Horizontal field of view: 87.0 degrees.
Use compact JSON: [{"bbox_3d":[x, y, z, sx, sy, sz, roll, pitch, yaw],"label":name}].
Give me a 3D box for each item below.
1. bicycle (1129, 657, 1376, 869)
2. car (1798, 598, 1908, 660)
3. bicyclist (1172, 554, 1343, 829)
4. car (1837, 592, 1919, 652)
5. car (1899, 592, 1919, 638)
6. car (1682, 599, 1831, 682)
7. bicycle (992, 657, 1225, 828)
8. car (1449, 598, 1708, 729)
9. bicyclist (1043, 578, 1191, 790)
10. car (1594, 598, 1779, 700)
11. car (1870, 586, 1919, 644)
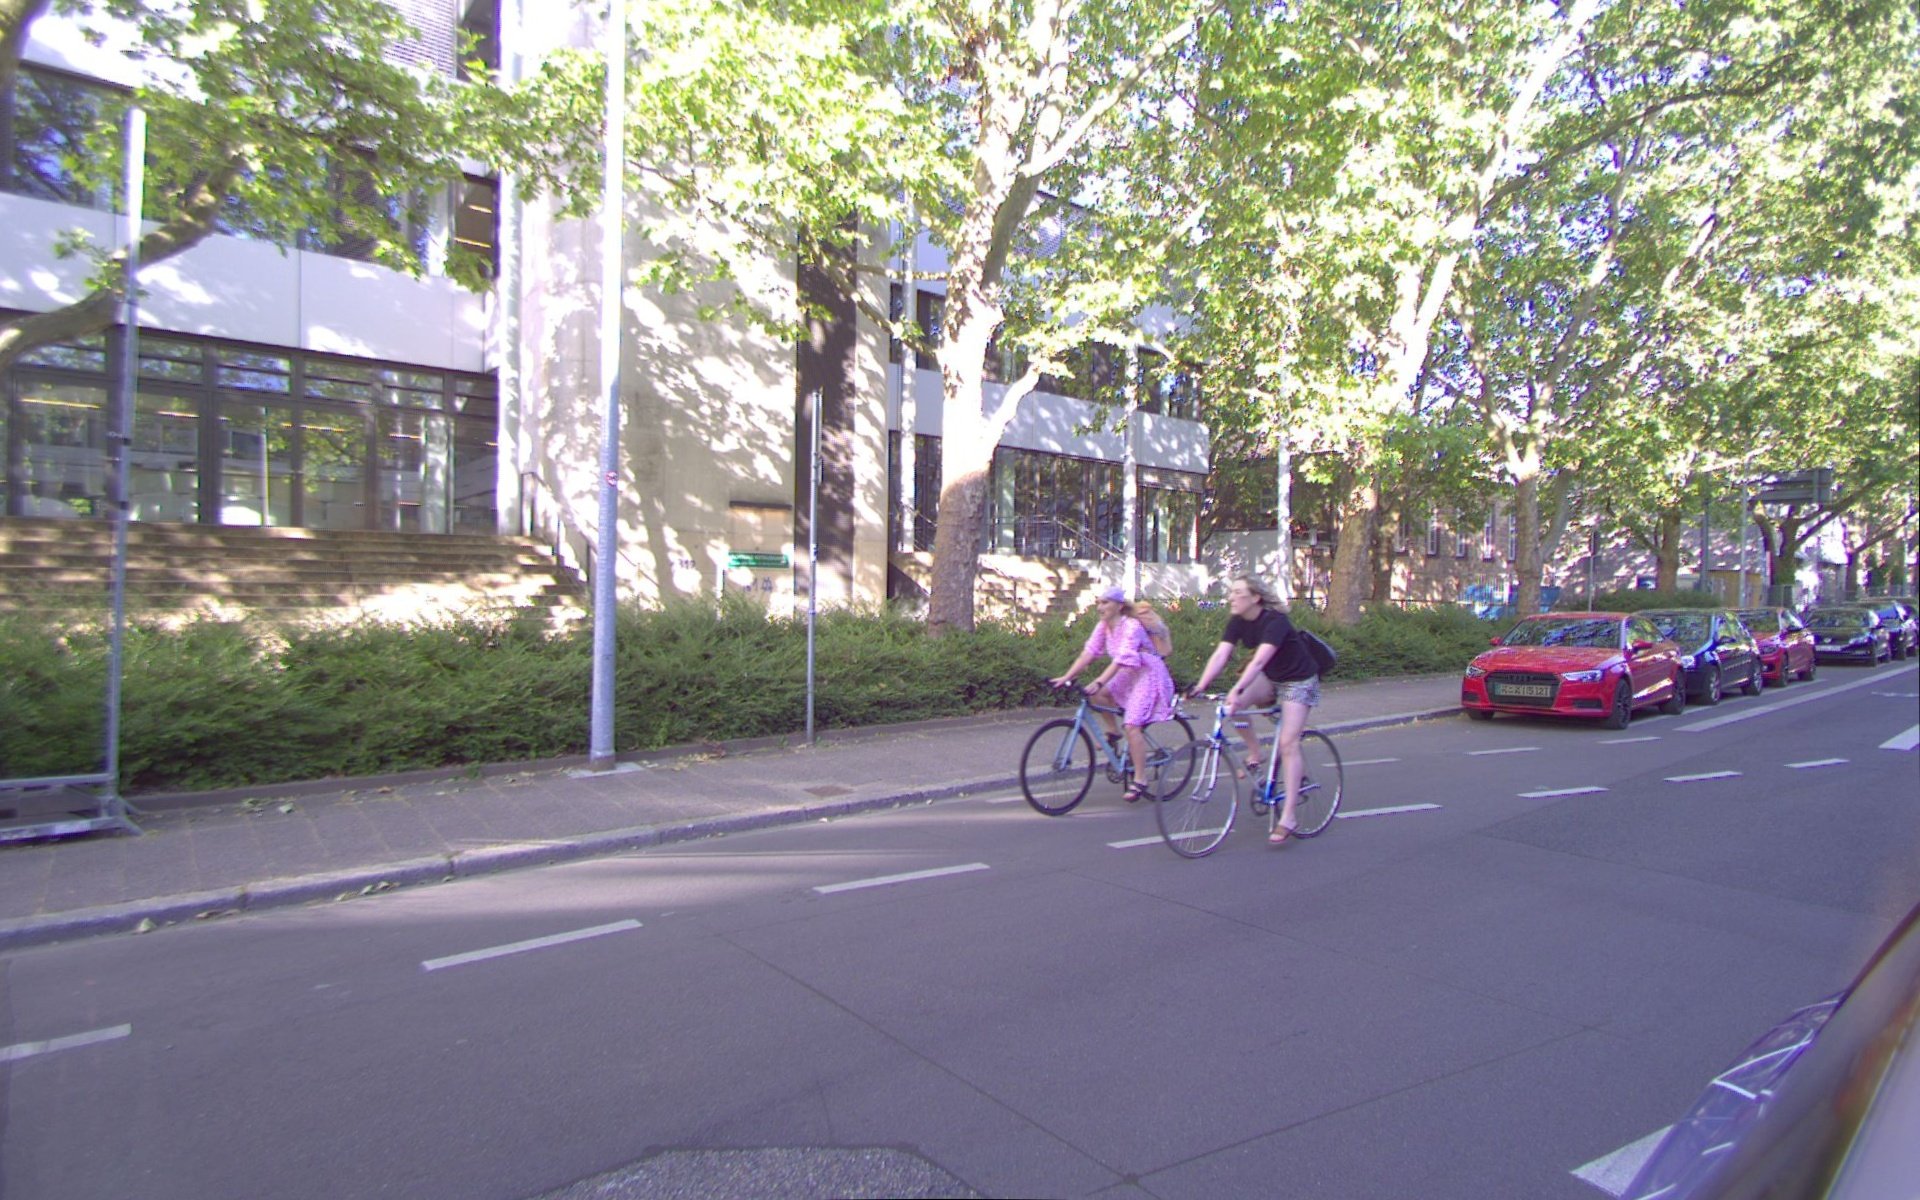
[{"bbox_3d":[1.820,0.911,6.168,1.701,1.039,0.611,0,-1,-41],"label":"bicycle"},{"bbox_3d":[22.915,0.697,25.940,3.674,1.483,1.634,0,-1,-41],"label":"car"},{"bbox_3d":[1.820,0.510,6.178,0.874,1.535,0.611,0,-1,-41],"label":"bicyclist"},{"bbox_3d":[26.601,0.584,29.023,3.777,1.607,1.634,0,-1,-41],"label":"car"},{"bbox_3d":[35.954,0.530,37.241,3.777,1.675,1.634,0,-1,-41],"label":"car"},{"bbox_3d":[15.740,0.725,19.947,3.674,1.483,1.634,0,-1,-41],"label":"car"},{"bbox_3d":[1.114,0.957,7.301,1.848,0.997,0.601,0,-1,-41],"label":"bicycle"},{"bbox_3d":[8.339,0.724,13.514,4.053,1.483,1.802,0,-1,-41],"label":"car"},{"bbox_3d":[1.138,0.568,7.325,0.915,1.420,0.601,0,-1,-41],"label":"bicyclist"},{"bbox_3d":[11.933,0.719,16.545,3.674,1.483,1.634,0,-1,-41],"label":"car"},{"bbox_3d":[31.170,0.475,33.075,3.777,1.828,1.634,0,-1,-41],"label":"car"}]
